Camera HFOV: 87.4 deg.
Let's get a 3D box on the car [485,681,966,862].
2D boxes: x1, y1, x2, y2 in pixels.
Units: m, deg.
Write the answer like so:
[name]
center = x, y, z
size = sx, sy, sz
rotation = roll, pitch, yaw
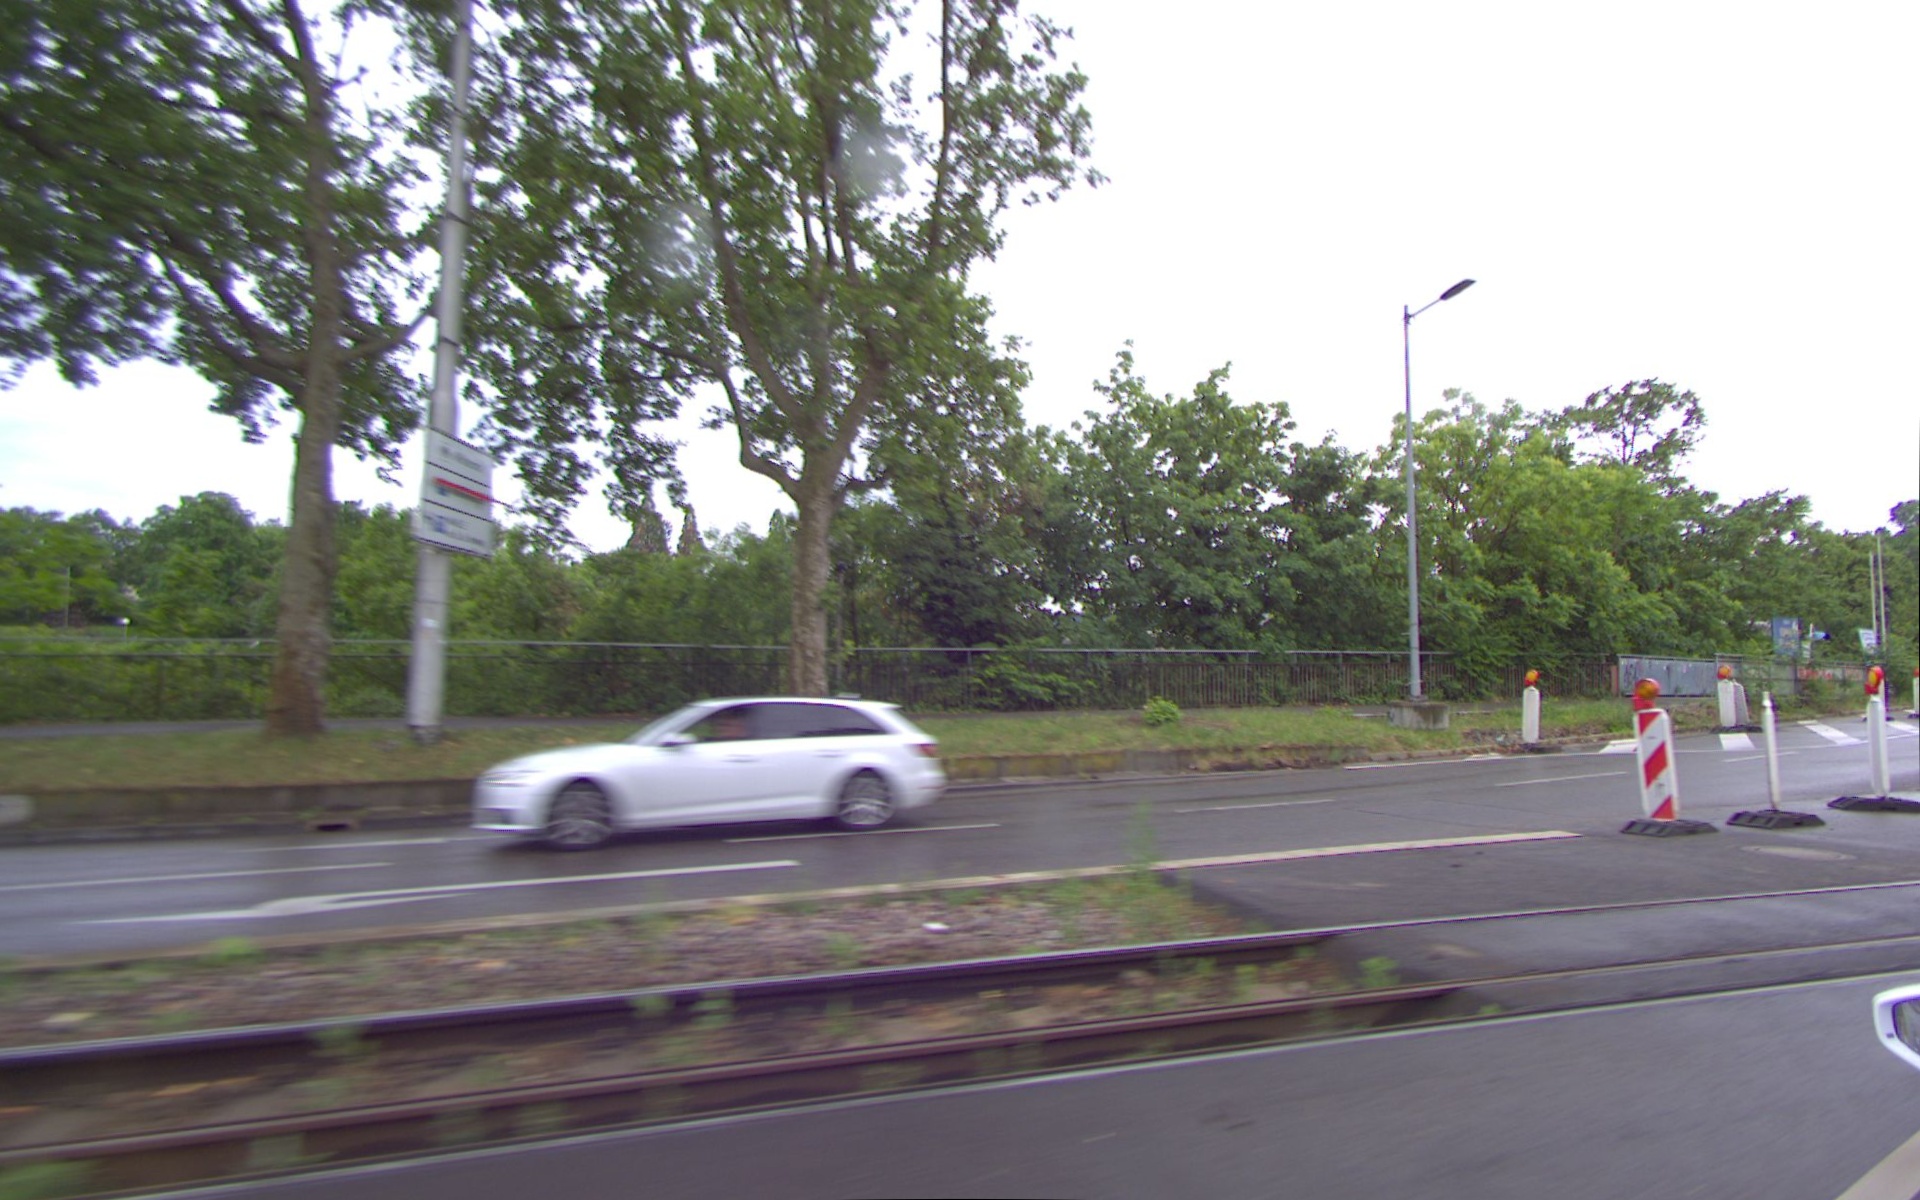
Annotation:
[car]
center = -2.415, 1.689, 10.669
size = 4.653, 1.517, 1.706
rotation = 1, -6, -23
